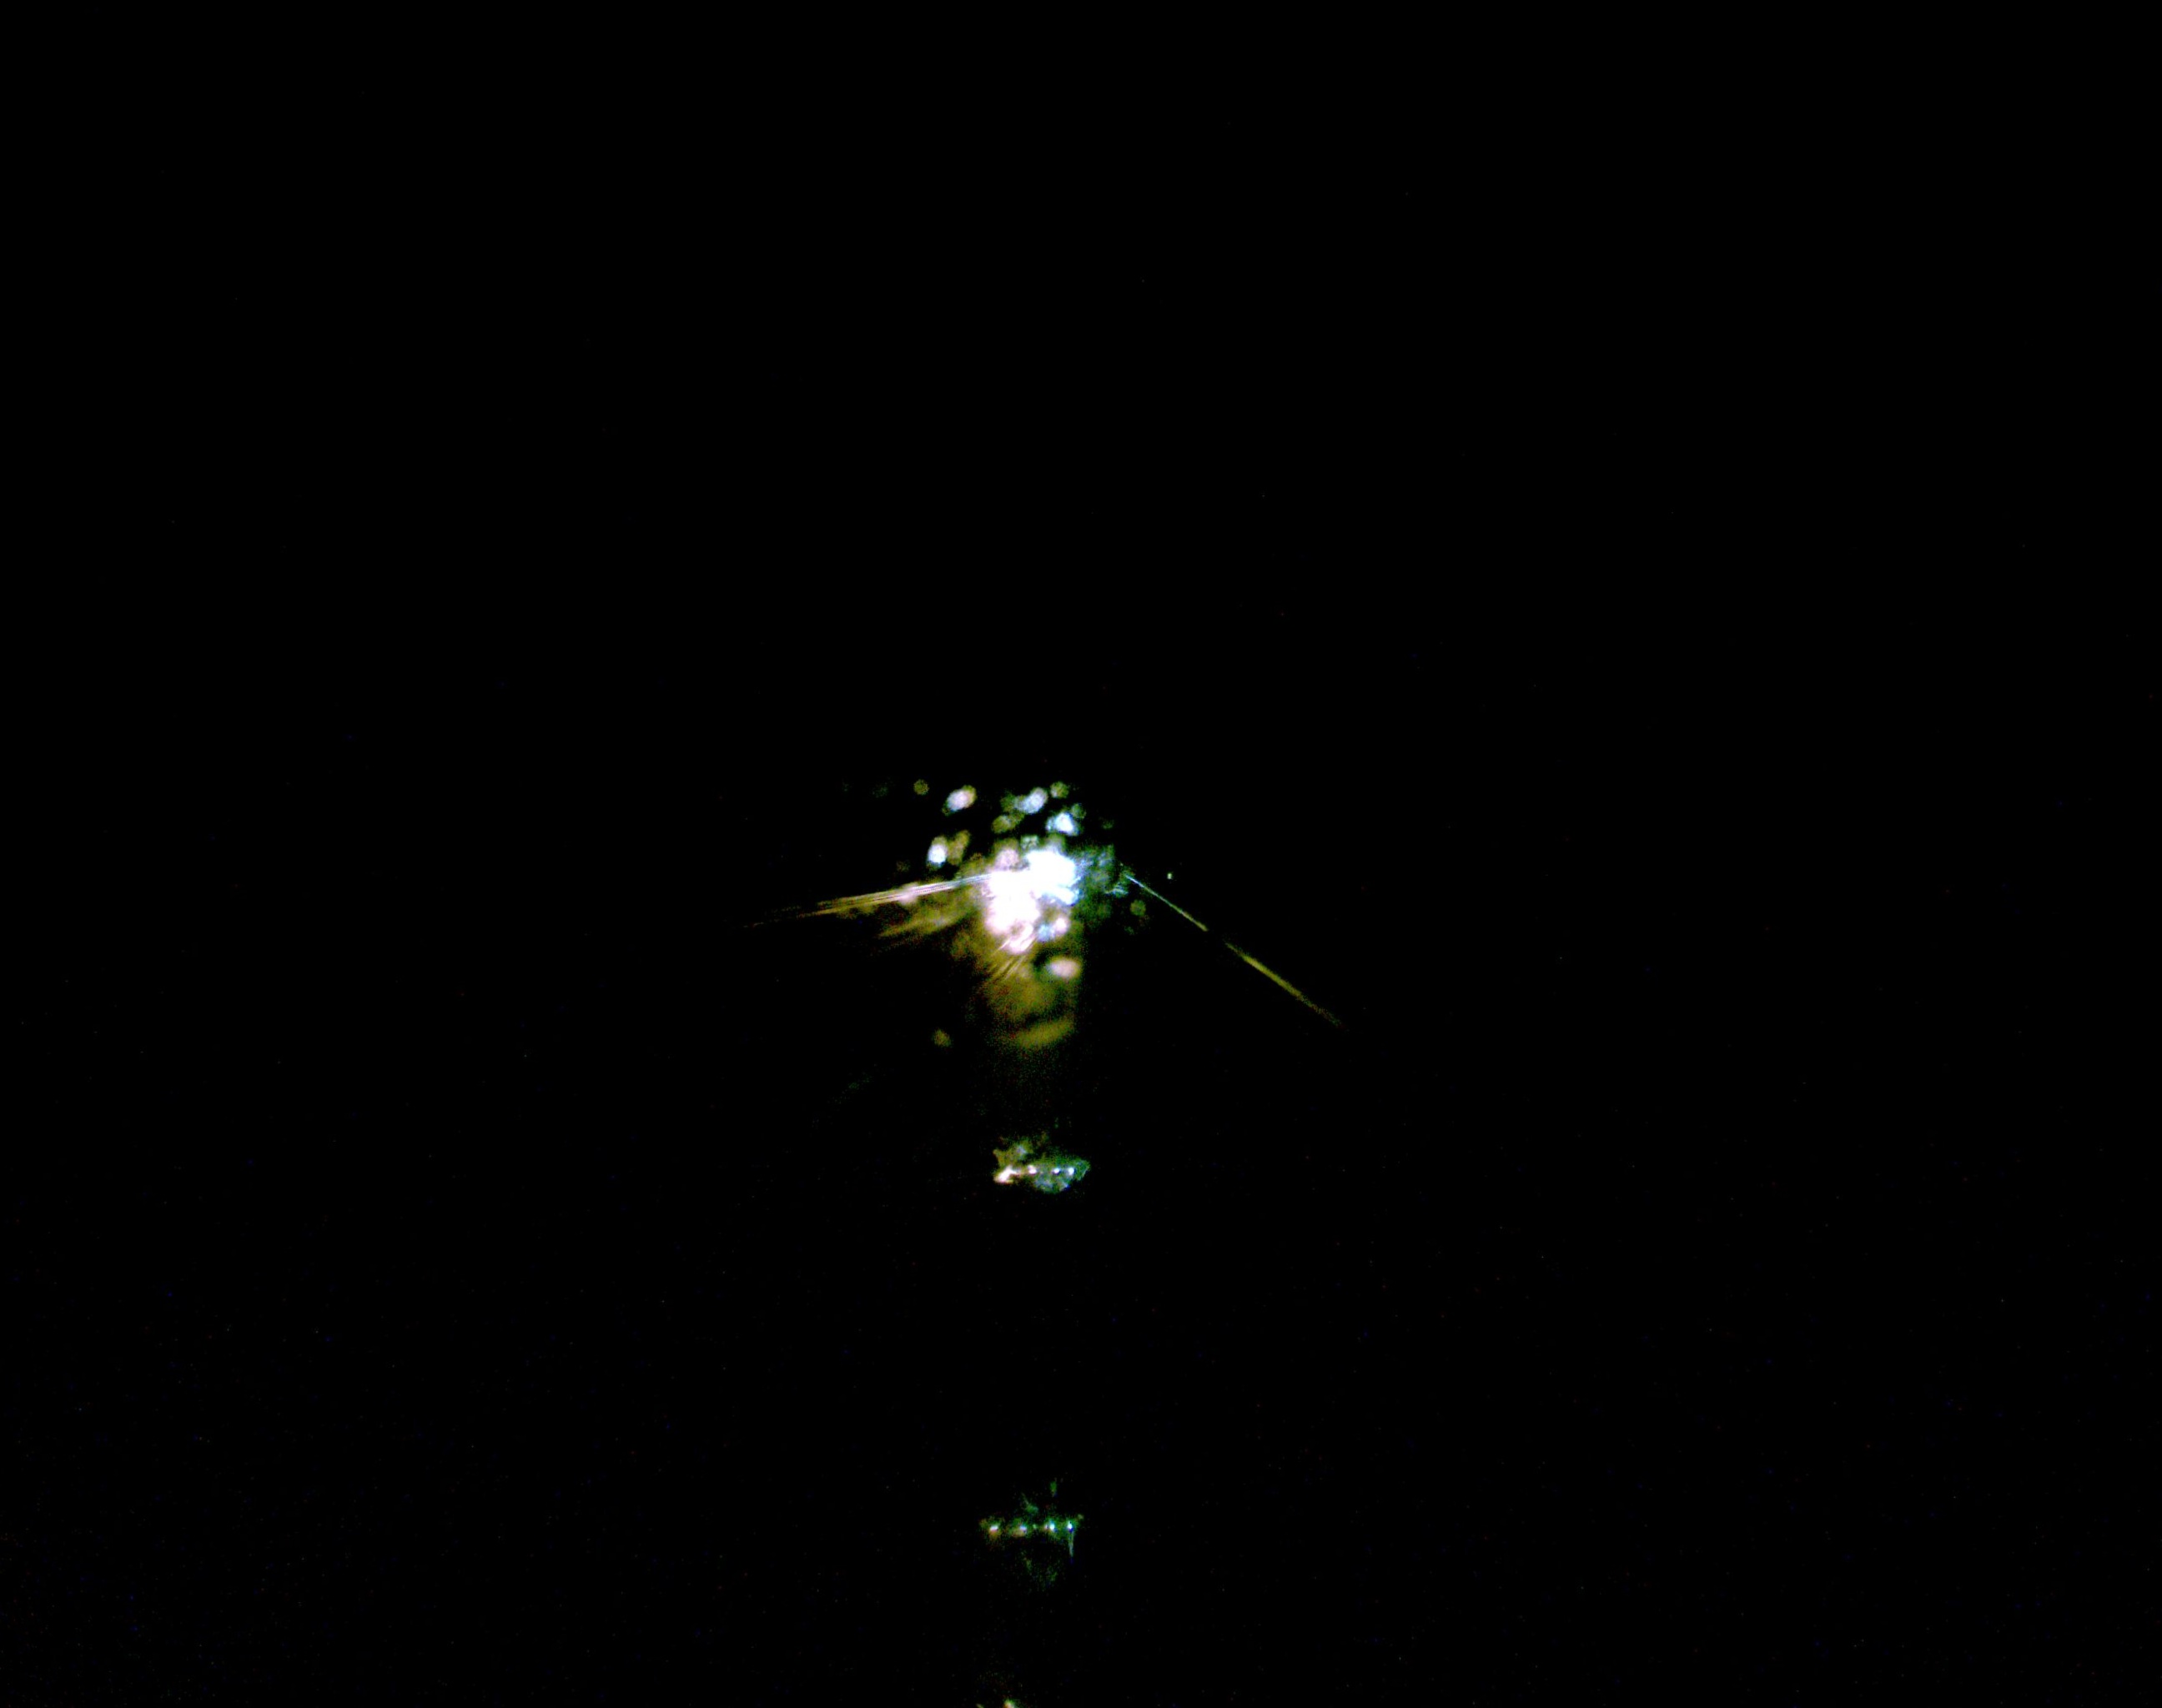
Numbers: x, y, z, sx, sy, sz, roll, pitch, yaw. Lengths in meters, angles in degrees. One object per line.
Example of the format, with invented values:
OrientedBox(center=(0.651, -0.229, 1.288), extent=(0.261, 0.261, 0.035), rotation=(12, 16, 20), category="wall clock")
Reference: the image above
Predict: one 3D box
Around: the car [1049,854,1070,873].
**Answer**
OrientedBox(center=(-1.930, 0.872, 74.533), extent=(1.812, 1.555, 3.870), rotation=(-2, -1, 0), category="car")

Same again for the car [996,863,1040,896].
OrientedBox(center=(-2.806, 1.101, 36.752), extent=(1.575, 1.385, 3.586), rotation=(0, -1, 2), category="car")
